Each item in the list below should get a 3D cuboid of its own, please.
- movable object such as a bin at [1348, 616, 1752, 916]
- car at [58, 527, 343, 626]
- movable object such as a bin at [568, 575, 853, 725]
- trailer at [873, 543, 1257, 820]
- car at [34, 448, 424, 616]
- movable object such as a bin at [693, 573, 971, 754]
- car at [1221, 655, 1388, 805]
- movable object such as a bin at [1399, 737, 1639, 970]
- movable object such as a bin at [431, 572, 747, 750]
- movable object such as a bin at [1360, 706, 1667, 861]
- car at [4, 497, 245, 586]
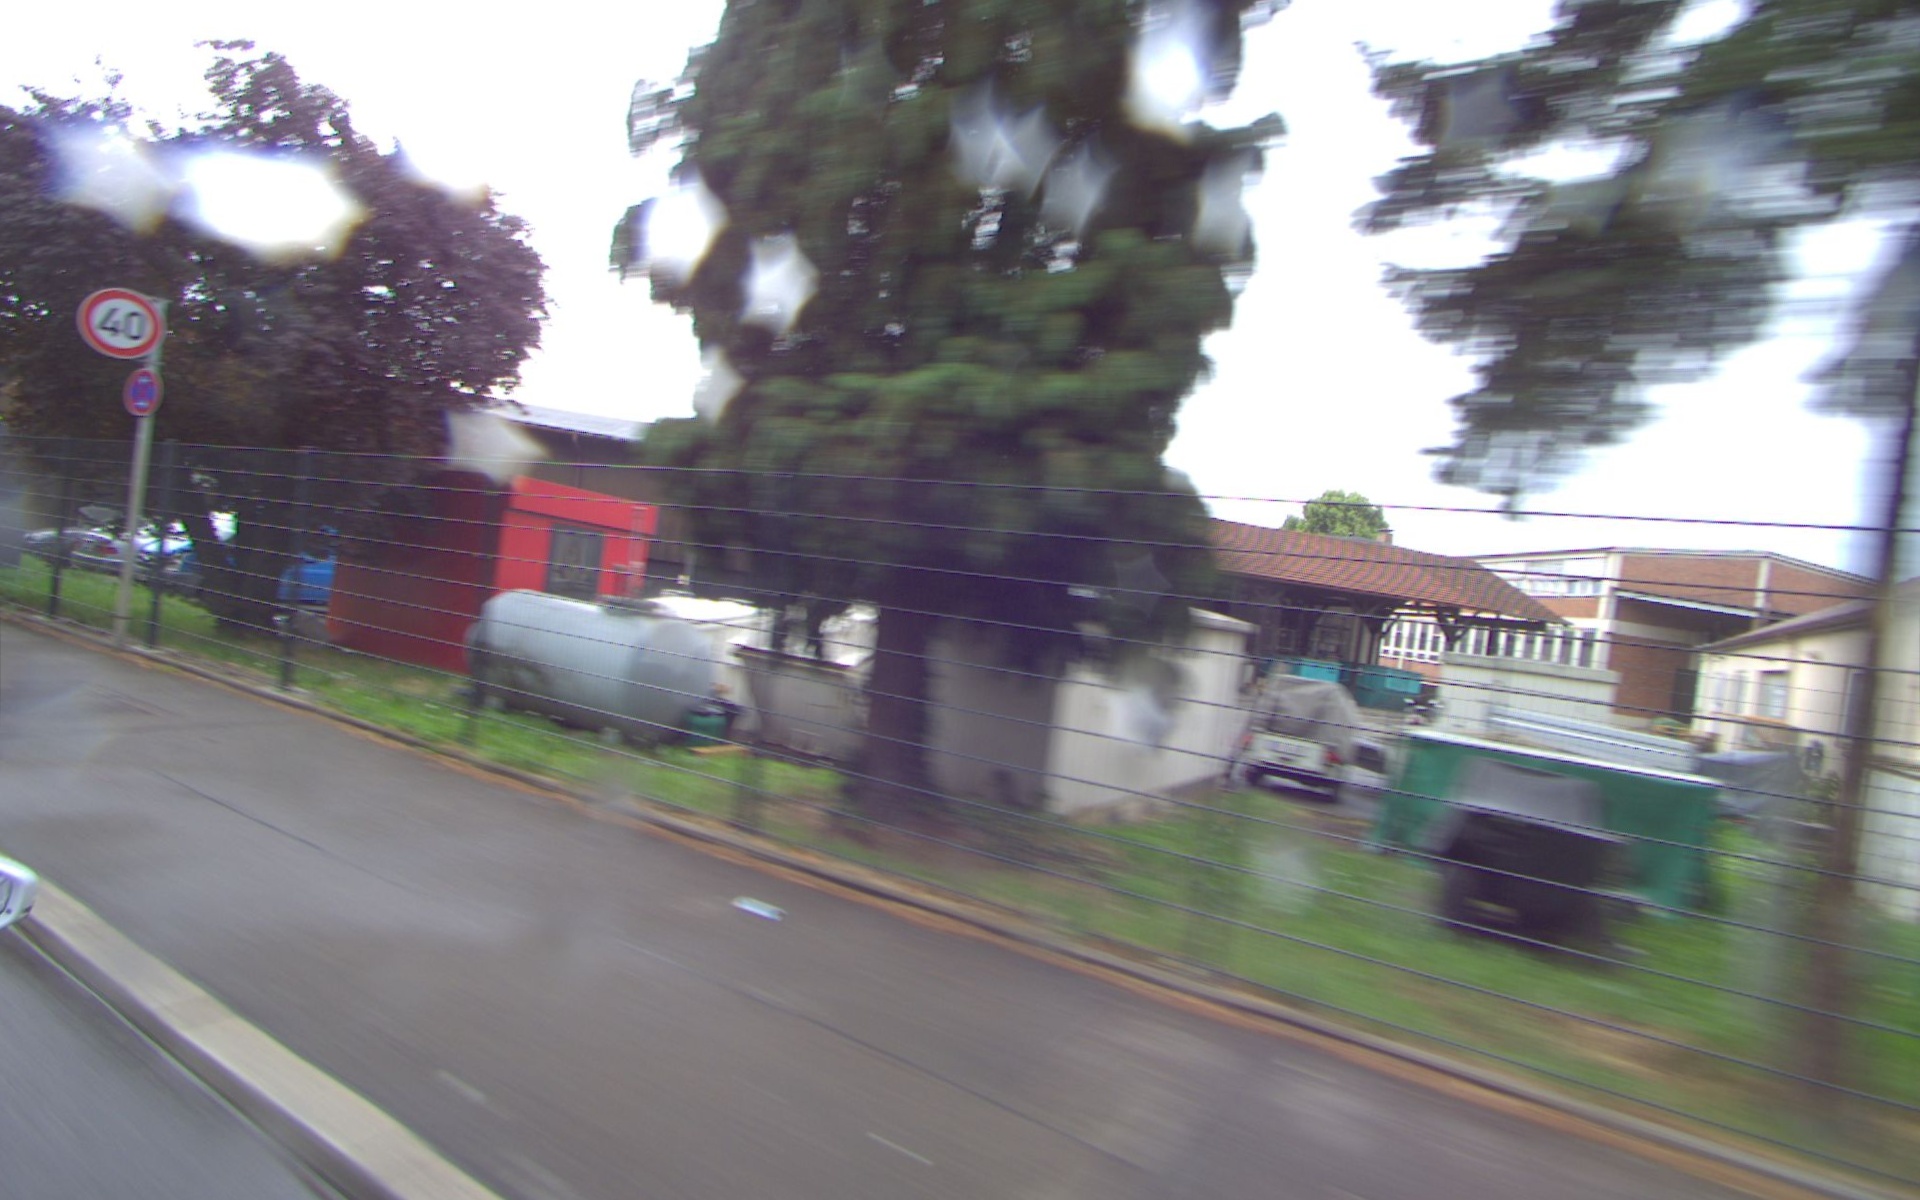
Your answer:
[{"bbox_3d":[5.819,1.506,10.090,3.045,2.268,1.905,5,-2,35],"label":"movable object such as a bin"},{"bbox_3d":[-15.864,-0.426,21.279,1.764,1.549,4.387,6,-1,30],"label":"car"},{"bbox_3d":[-3.262,0.746,13.729,1.859,1.595,3.339,7,-2,29],"label":"movable object such as a bin"},{"bbox_3d":[1.525,0.926,11.215,2.012,2.211,5.433,6,-3,30],"label":"trailer"},{"bbox_3d":[-13.682,-1.155,19.337,1.966,2.236,5.580,7,-2,30],"label":"car"},{"bbox_3d":[-1.477,0.793,12.337,2.048,1.736,2.624,7,-2,29],"label":"movable object such as a bin"},{"bbox_3d":[5.237,1.910,15.076,1.531,1.834,3.127,6,-3,33],"label":"car"},{"bbox_3d":[3.853,1.666,6.967,1.197,1.193,1.332,8,-3,31],"label":"movable object such as a bin"},{"bbox_3d":[-3.820,0.596,10.349,2.809,1.335,1.374,7,-1,27],"label":"movable object such as a bin"},{"bbox_3d":[6.967,2.220,12.802,3.100,1.311,1.935,5,-3,32],"label":"movable object such as a bin"},{"bbox_3d":[-19.852,-1.347,24.072,1.756,1.439,3.994,5,-3,32],"label":"car"}]
